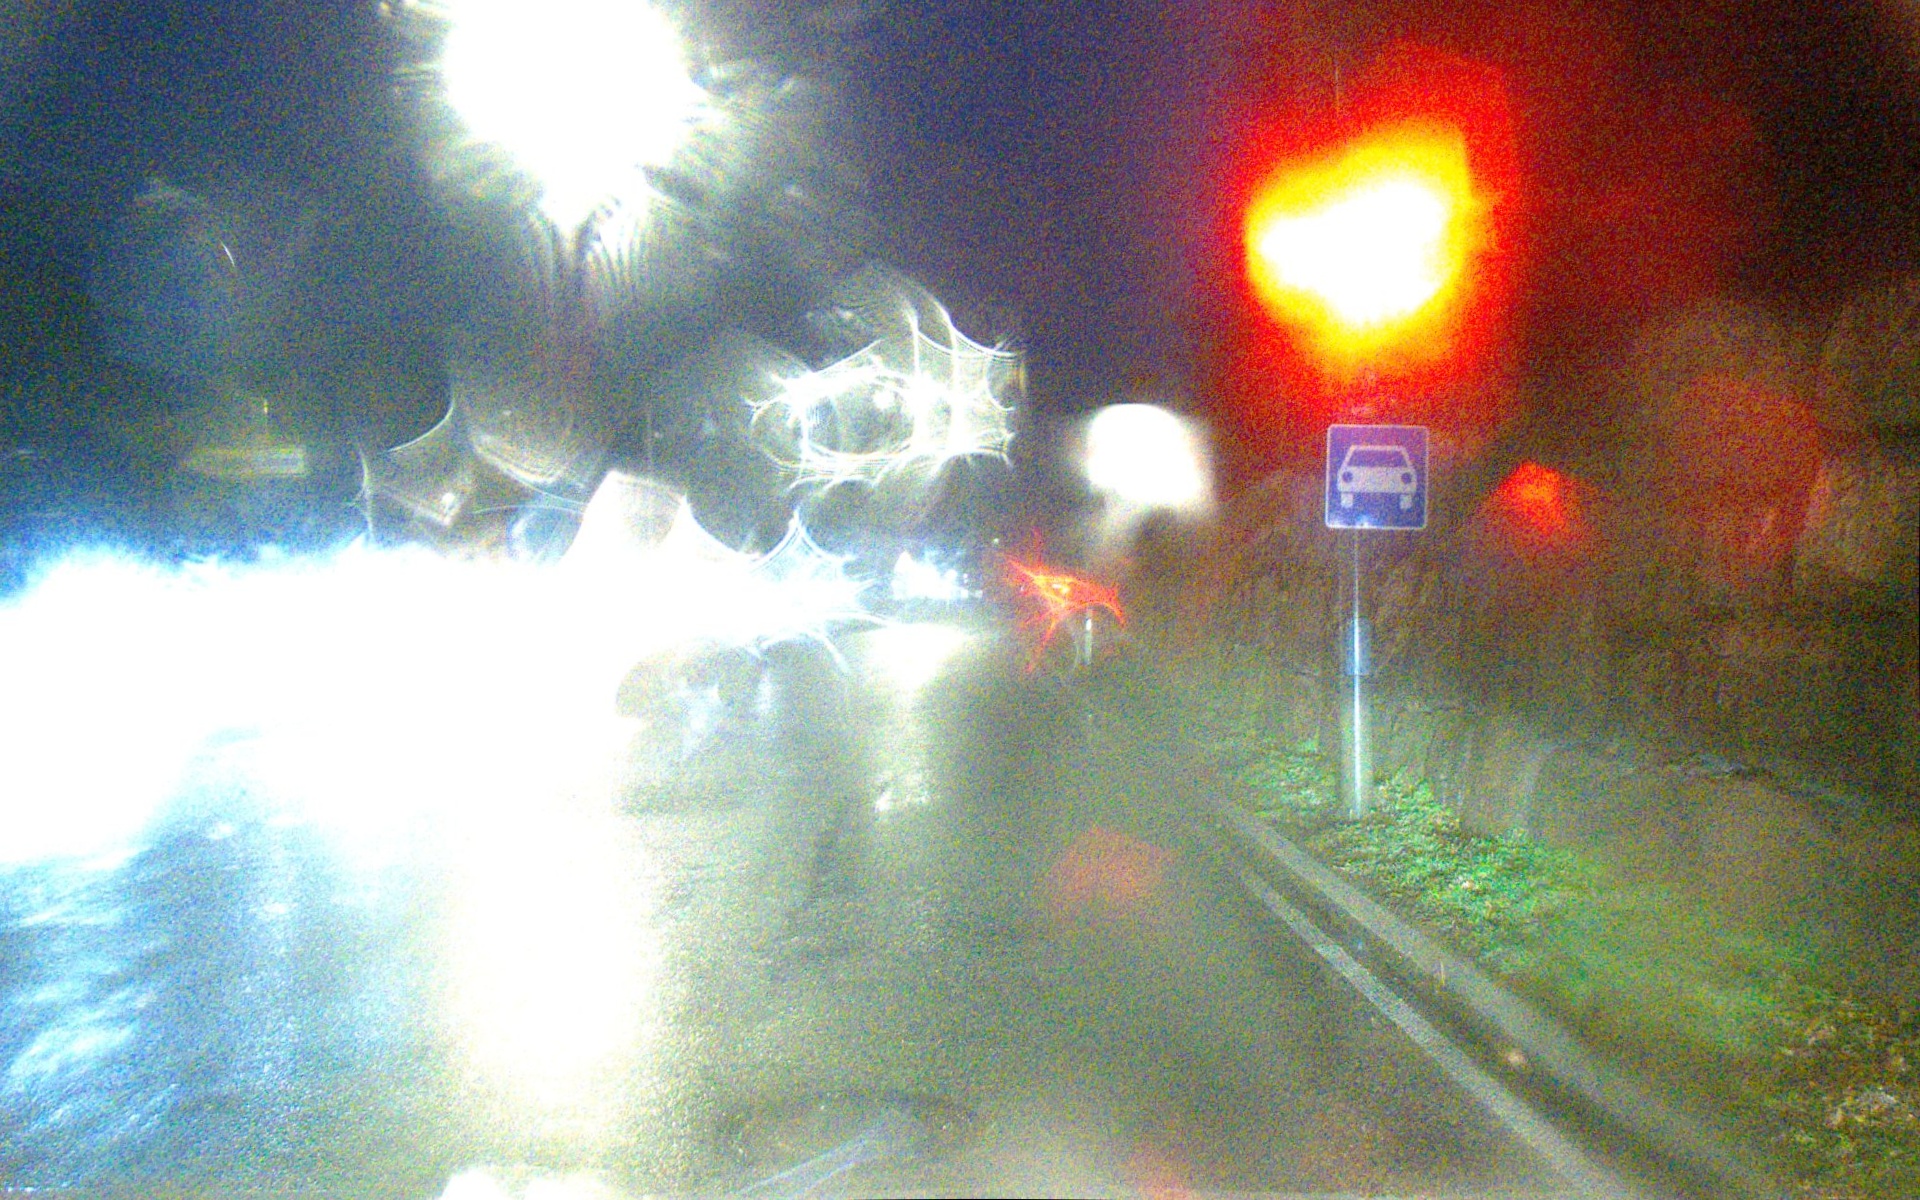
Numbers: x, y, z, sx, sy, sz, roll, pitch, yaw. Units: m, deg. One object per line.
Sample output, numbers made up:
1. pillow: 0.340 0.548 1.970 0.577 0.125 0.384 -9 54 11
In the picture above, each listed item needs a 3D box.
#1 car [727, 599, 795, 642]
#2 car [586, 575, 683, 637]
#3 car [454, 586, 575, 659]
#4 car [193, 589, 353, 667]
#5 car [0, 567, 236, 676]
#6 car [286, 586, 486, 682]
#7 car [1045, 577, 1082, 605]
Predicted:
1. car: -7.447 0.768 62.388 1.672 1.561 4.602 0 -1 4
2. car: -9.347 0.180 47.785 1.681 1.733 4.145 0 -1 5
3. car: -9.940 0.504 37.176 1.552 1.552 3.653 0 -1 3
4. car: -13.708 0.554 33.202 1.634 1.479 3.727 0 -1 0
5. car: -13.668 0.313 26.798 1.755 1.599 4.913 0 0 -1
6. car: -10.280 0.560 30.024 1.663 1.599 4.714 0 0 4
7. car: 6.367 -0.538 101.903 1.953 1.639 4.102 0 -1 -1
